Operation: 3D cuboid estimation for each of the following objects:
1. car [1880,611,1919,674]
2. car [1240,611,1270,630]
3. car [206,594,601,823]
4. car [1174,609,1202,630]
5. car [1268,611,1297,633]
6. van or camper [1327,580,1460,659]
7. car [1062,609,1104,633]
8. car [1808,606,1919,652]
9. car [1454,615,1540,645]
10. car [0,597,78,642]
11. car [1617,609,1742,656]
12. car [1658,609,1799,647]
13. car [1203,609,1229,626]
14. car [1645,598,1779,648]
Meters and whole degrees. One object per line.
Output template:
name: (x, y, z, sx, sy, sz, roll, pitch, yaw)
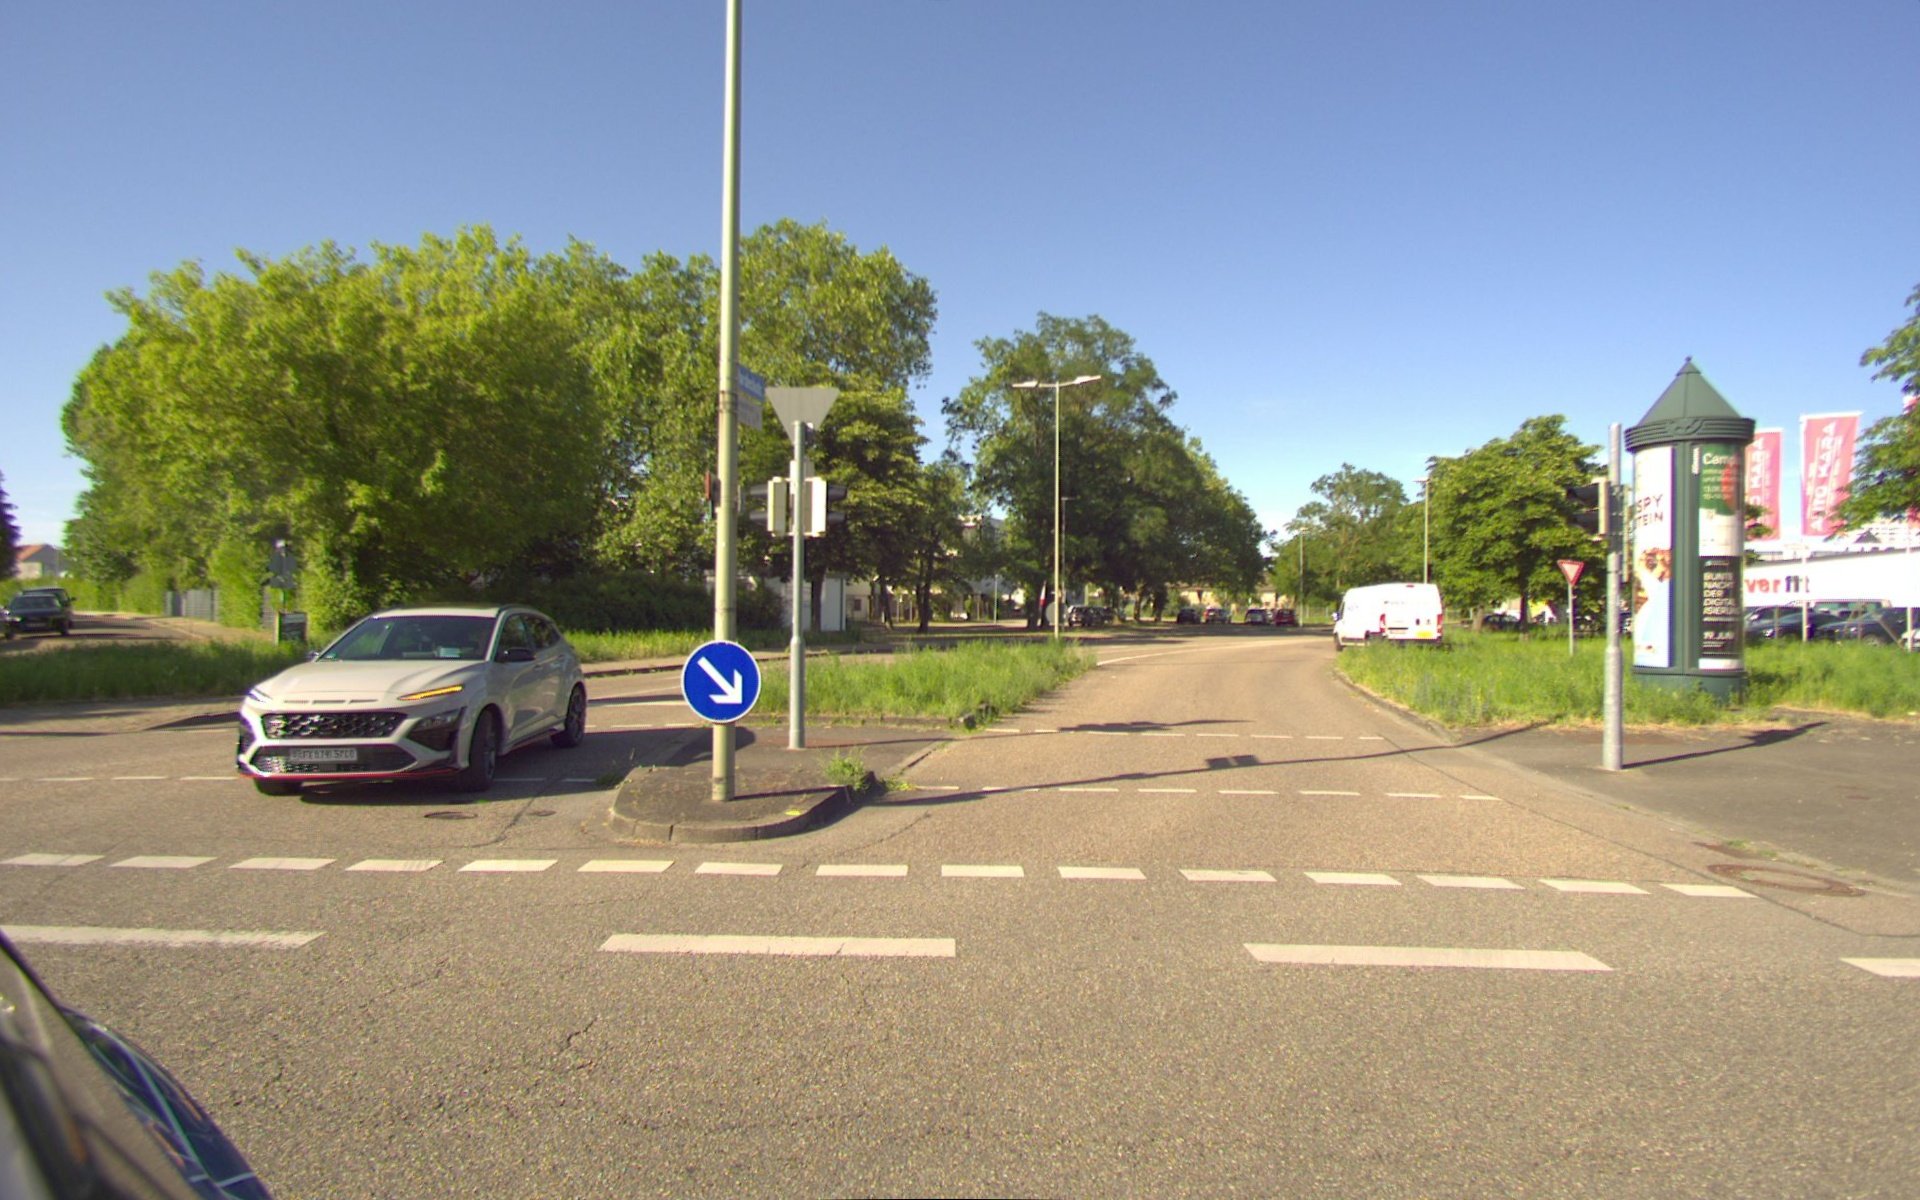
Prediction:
car: (30.872, 1.288, 30.764, 3.943, 1.901, 2.000, 0, -1, 0)
car: (24.985, 1.700, 85.576, 1.987, 1.461, 3.970, 2, 1, 22)
car: (-4.846, 0.798, 9.544, 1.691, 1.658, 4.058, 0, 1, -3)
car: (19.611, 1.644, 87.061, 1.726, 1.631, 3.970, 2, 1, 22)
car: (26.824, 1.829, 84.143, 1.987, 1.678, 3.970, 2, 1, 22)
van or camper: (15.505, 0.757, 36.729, 2.574, 2.603, 6.598, 0, -2, 6)
car: (9.383, 1.574, 77.186, 1.999, 1.809, 3.965, -1, -1, 26)
car: (30.834, 0.944, 33.401, 3.943, 1.452, 2.000, 0, -1, 0)
car: (29.130, 1.615, 55.044, 3.978, 1.541, 1.912, 0, -1, 25)
car: (-34.147, 0.684, 37.470, 1.967, 1.568, 4.009, 0, 0, -37)
car: (31.644, 1.417, 44.645, 3.957, 2.029, 1.993, -1, -1, 11)
car: (29.684, 1.063, 39.195, 3.950, 1.419, 1.836, 0, -1, 5)
car: (23.292, 1.571, 92.074, 1.860, 1.451, 3.458, 2, 1, 22)
car: (31.232, 0.935, 42.138, 3.959, 2.029, 1.992, 0, -1, 12)
